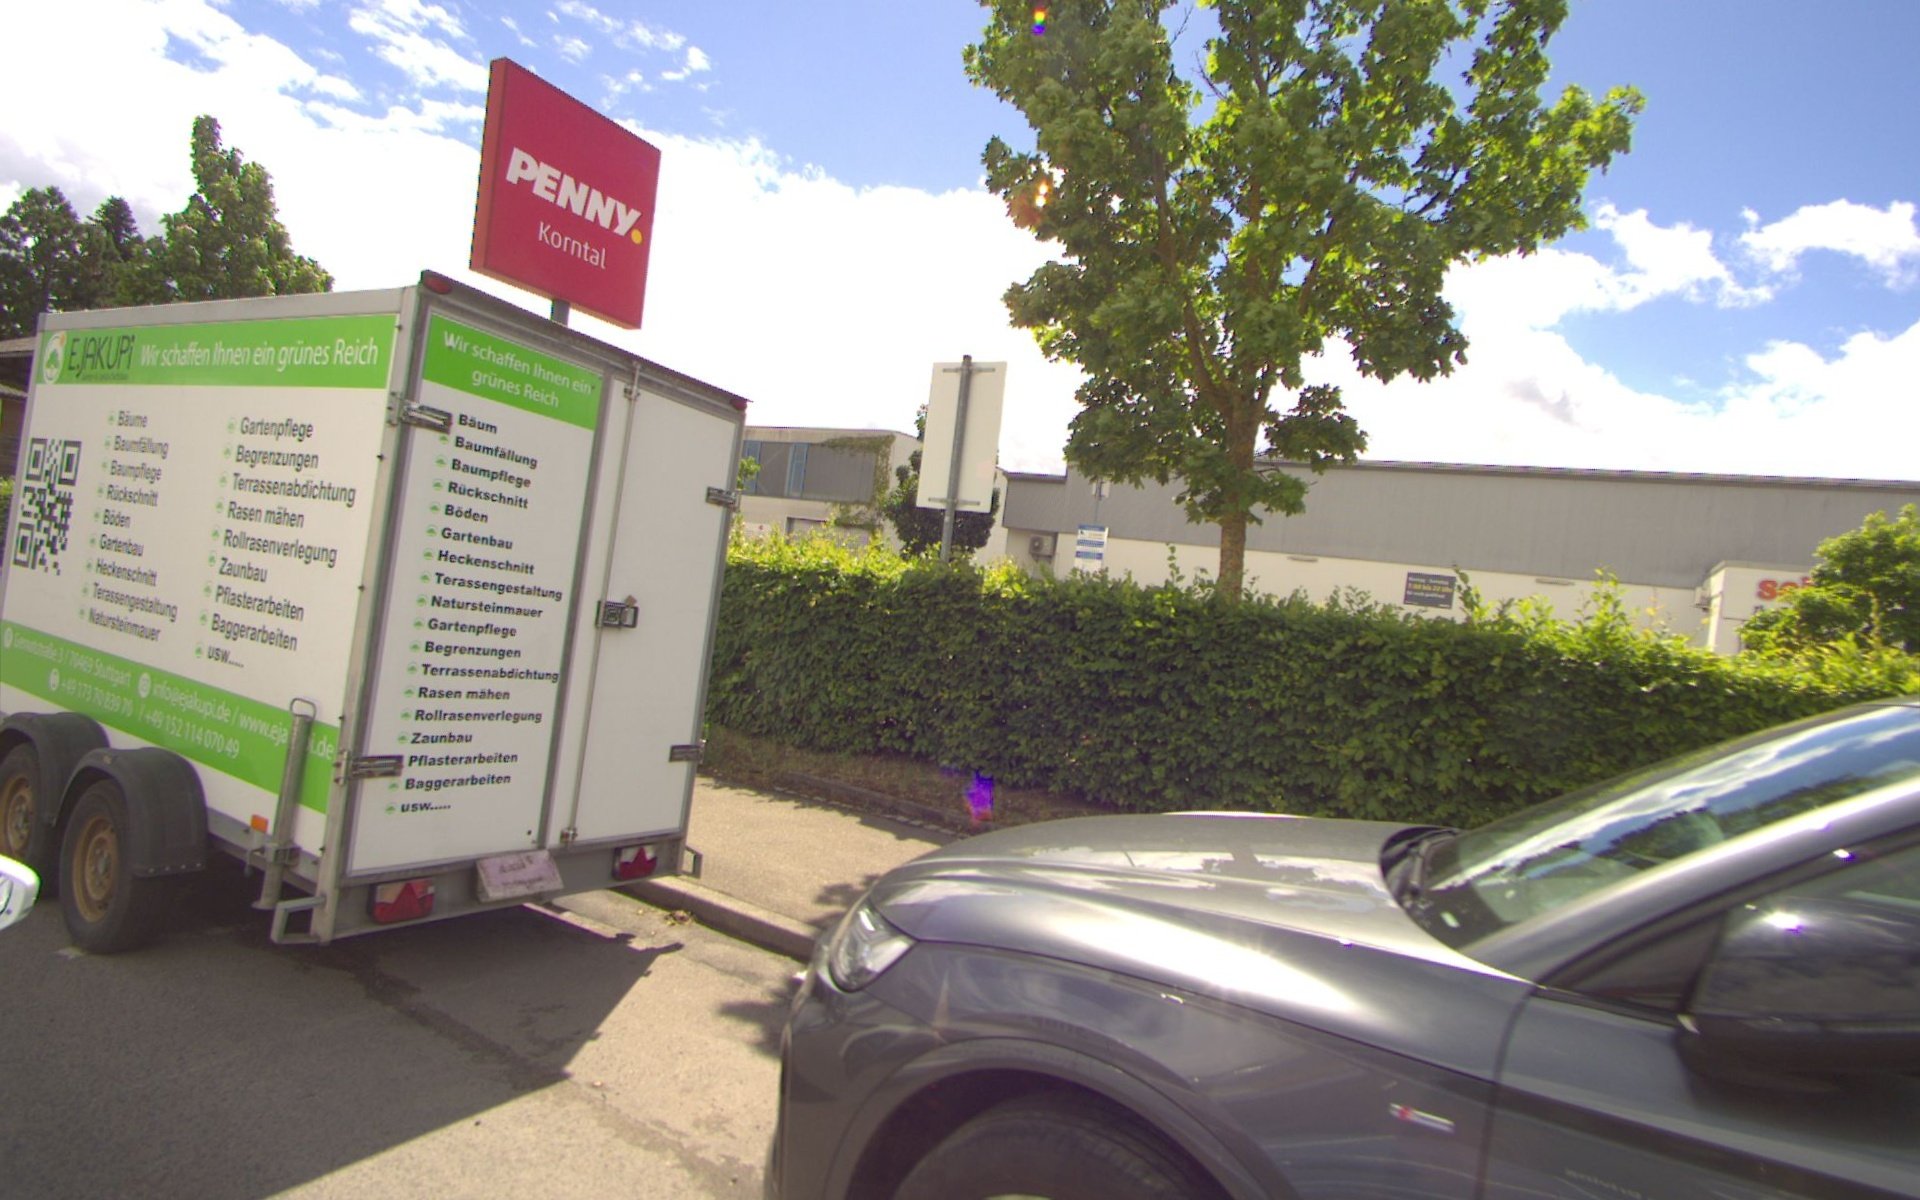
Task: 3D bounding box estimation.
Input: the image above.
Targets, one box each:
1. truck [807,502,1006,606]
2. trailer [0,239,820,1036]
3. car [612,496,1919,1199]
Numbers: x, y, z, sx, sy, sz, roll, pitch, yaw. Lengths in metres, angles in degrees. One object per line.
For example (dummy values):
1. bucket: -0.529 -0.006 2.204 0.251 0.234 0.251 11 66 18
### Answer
1. truck: -2.160 -2.006 48.301 2.930 2.896 12.008 7 -3 32
2. trailer: -3.116 -0.036 4.861 4.370 2.323 1.944 7 0 30
3. car: 1.759 0.893 1.647 4.369 1.591 1.945 7 0 30
